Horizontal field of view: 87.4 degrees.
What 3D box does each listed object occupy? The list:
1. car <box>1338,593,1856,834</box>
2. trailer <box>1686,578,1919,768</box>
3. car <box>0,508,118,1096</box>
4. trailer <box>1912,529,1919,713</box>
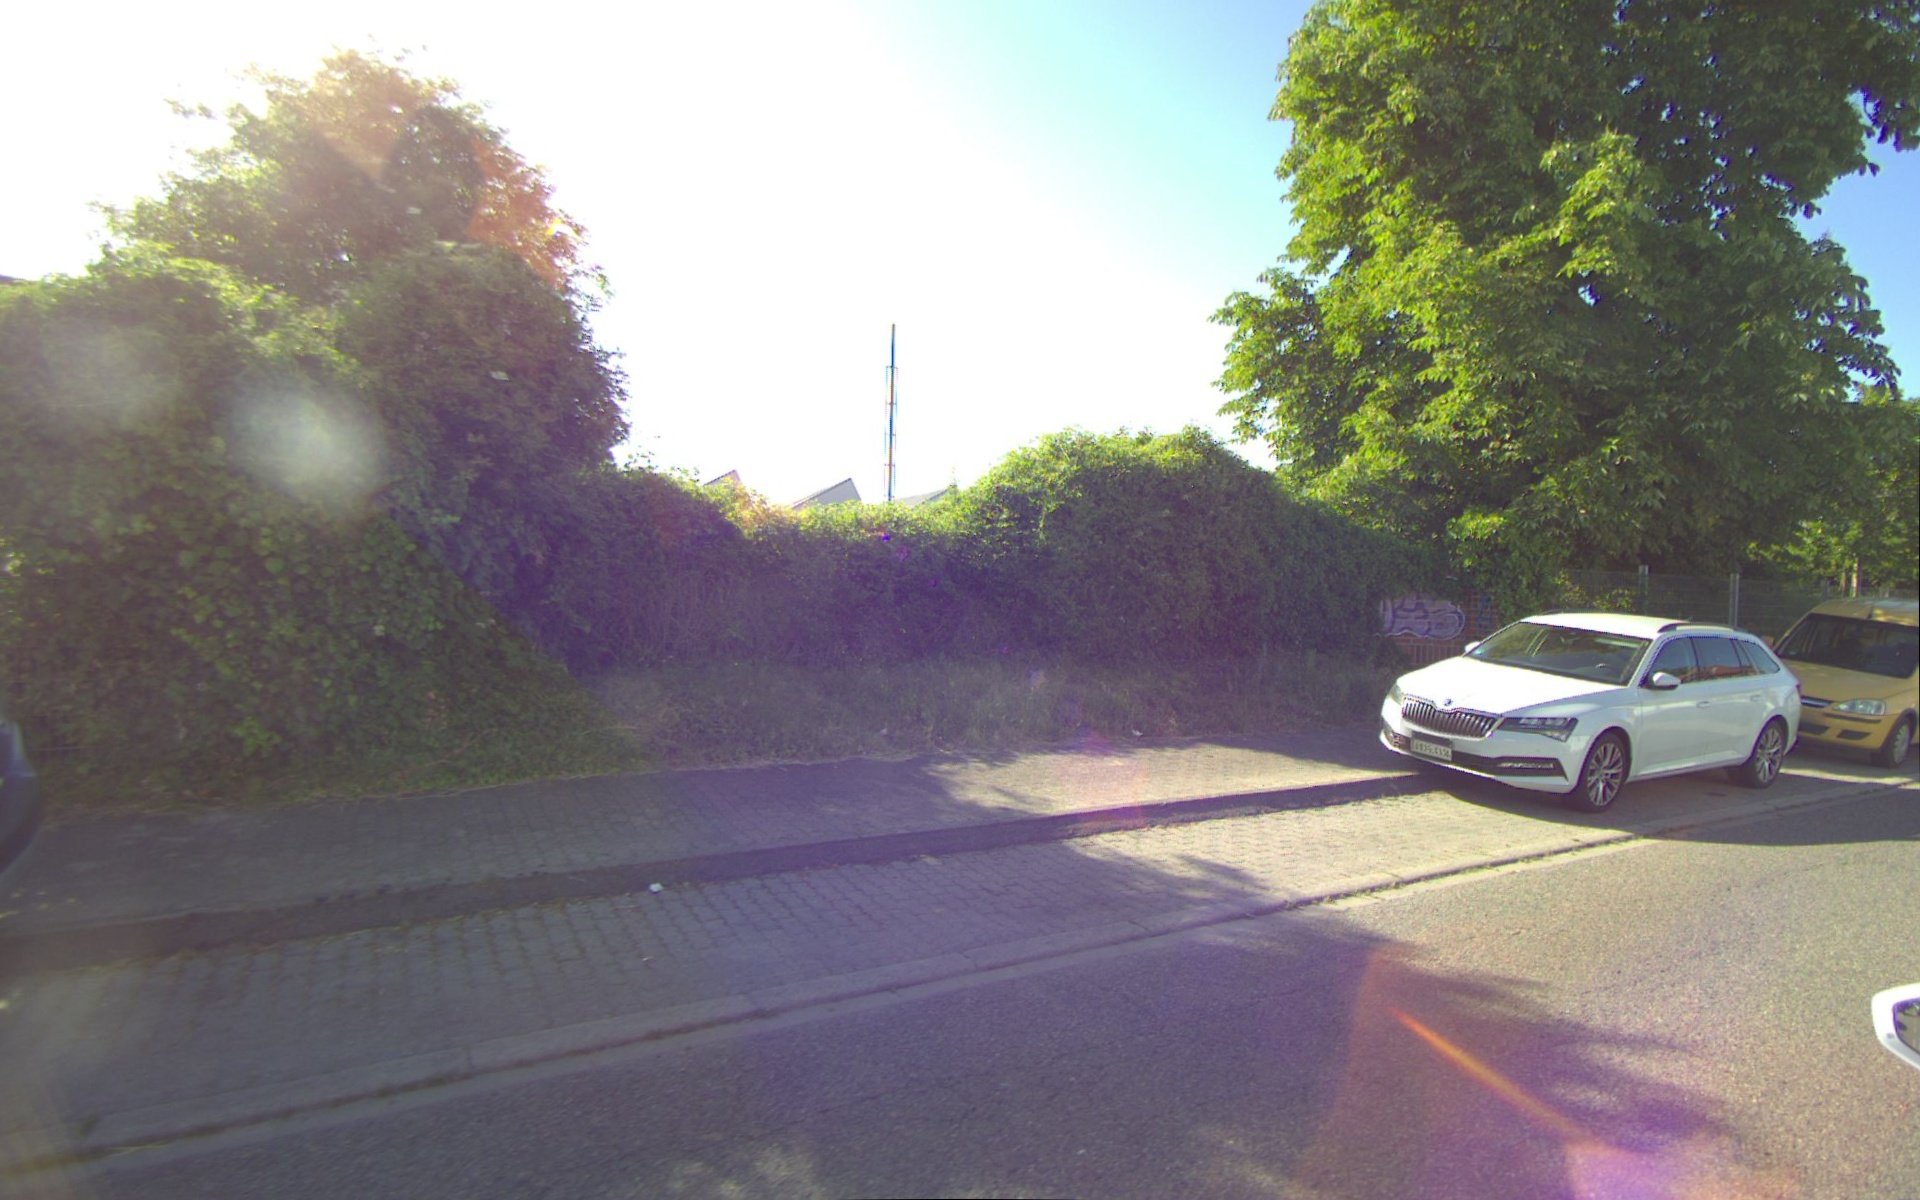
[{"bbox_3d":[6.092,0.894,9.470,4.965,1.615,1.899,1,5,-30],"label":"car"},{"bbox_3d":[11.177,0.798,12.381,4.363,1.967,1.984,2,0,-30],"label":"trailer"},{"bbox_3d":[-5.166,0.511,2.541,4.415,1.685,1.897,1,5,-33],"label":"car"},{"bbox_3d":[20.438,0.311,17.922,8.070,3.489,2.975,2,1,-32],"label":"trailer"}]
